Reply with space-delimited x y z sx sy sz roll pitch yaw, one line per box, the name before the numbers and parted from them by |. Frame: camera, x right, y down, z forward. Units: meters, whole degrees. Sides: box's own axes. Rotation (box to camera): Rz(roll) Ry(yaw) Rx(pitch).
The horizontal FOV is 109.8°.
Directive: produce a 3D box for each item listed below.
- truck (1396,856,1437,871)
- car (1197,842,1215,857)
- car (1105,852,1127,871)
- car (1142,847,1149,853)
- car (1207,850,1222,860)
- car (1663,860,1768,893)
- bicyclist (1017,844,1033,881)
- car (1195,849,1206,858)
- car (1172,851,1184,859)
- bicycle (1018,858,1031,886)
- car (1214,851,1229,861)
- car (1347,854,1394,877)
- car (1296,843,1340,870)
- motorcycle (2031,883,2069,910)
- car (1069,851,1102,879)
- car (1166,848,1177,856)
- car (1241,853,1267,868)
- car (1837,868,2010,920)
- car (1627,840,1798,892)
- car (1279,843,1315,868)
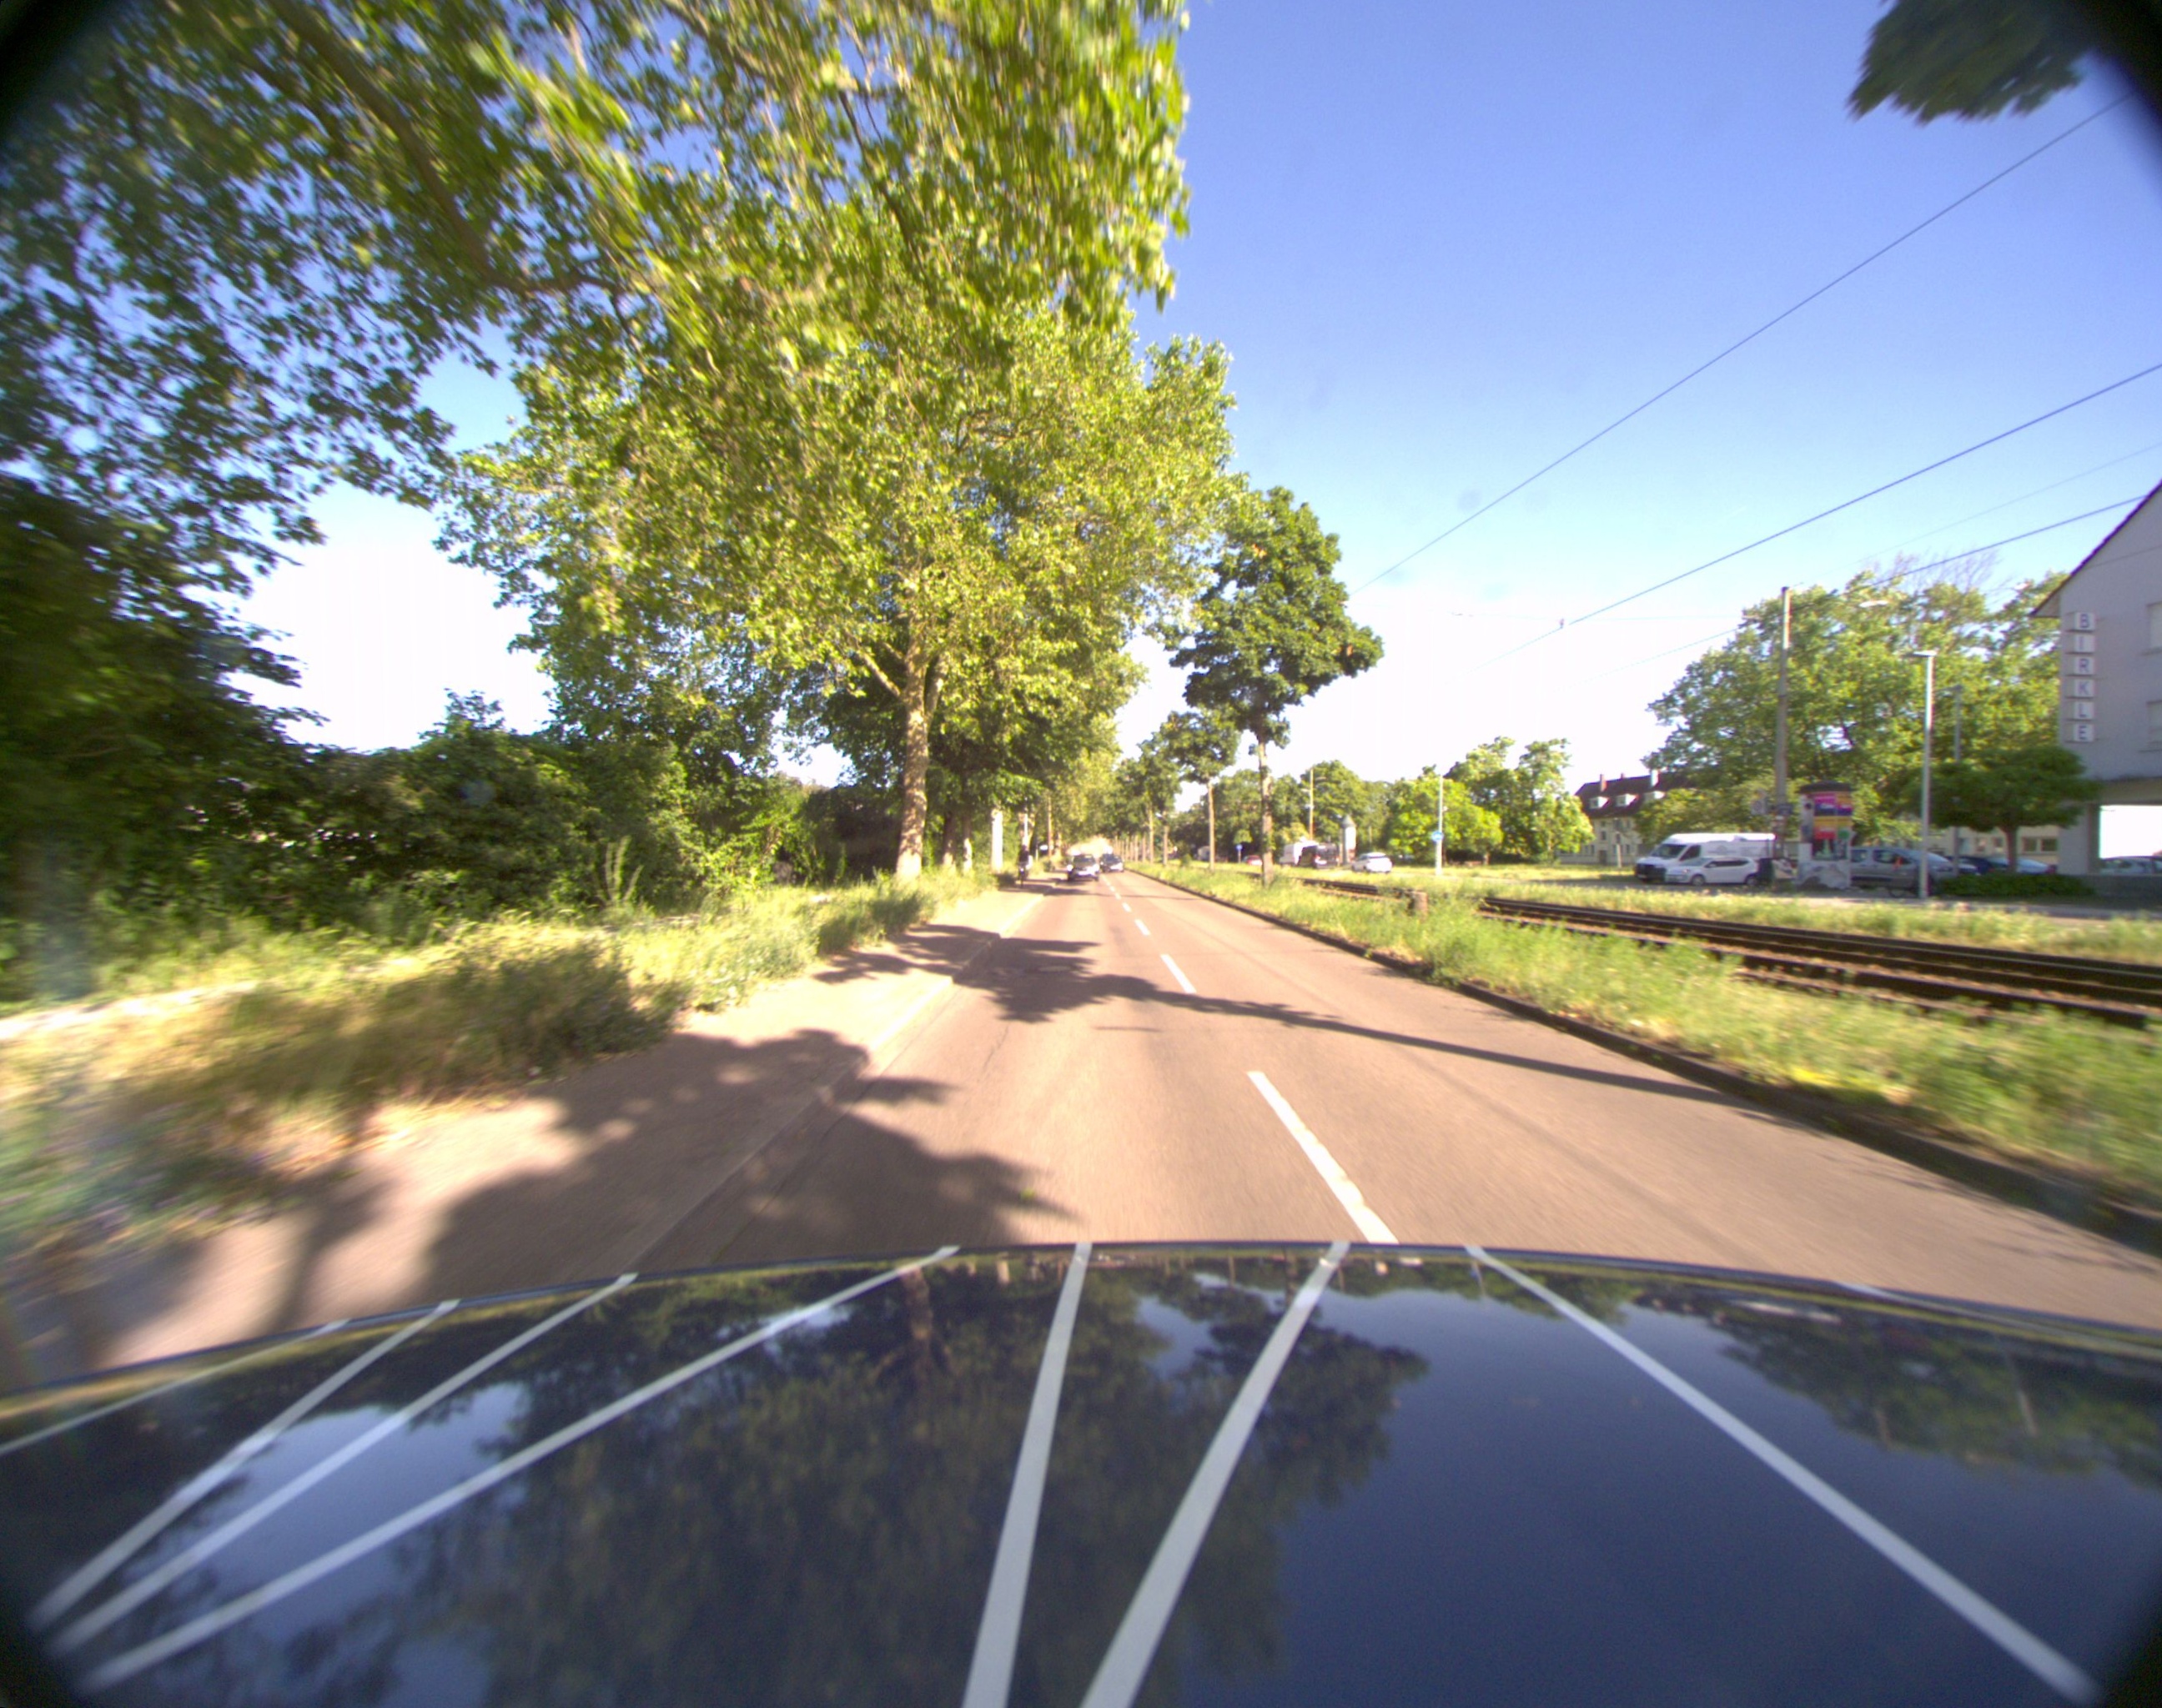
truck | 45.288 1.221 102.618 4.946 1.858 2.080 -1 1 -19
car | 22.380 -0.718 136.110 2.231 2.565 6.799 -1 0 1
car | 2.881 0.624 62.937 1.714 1.478 3.547 -1 1 2
car | 19.138 -1.190 225.094 1.731 1.519 4.442 -1 1 1
car | 22.579 0.201 128.591 1.626 1.613 4.532 -1 1 0
car | 30.026 1.055 36.024 3.624 1.469 1.749 0 1 -4
bicyclist | -2.439 0.359 33.007 0.615 1.619 0.909 0 1 1
car | 23.300 -0.123 148.188 1.772 1.554 4.282 0 1 3
car | 18.568 0.165 145.864 1.998 1.522 3.751 0 0 2
bicycle | -2.442 0.756 32.990 0.441 1.146 1.823 0 1 1
car | 22.466 0.307 121.476 1.678 1.575 4.248 -1 1 2
car | 21.837 0.827 57.534 1.827 1.598 4.773 -1 1 1
car | 21.891 0.210 70.472 2.188 2.362 6.464 -1 1 1
motorcycle | 30.562 1.332 23.961 0.893 0.847 0.311 0 1 -7
car | 0.249 0.610 43.764 1.808 1.478 3.546 -1 1 0
car | 19.742 -0.372 165.360 1.815 1.734 4.981 -1 1 1
car | 17.328 0.632 76.360 1.680 1.401 4.000 0 0 0
car | 31.788 1.449 28.854 1.801 1.660 4.097 -1 1 -8
car | 32.304 0.589 38.996 7.086 2.493 2.330 -1 0 -4
car | 22.191 0.108 78.341 2.007 2.482 6.136 -1 1 0
